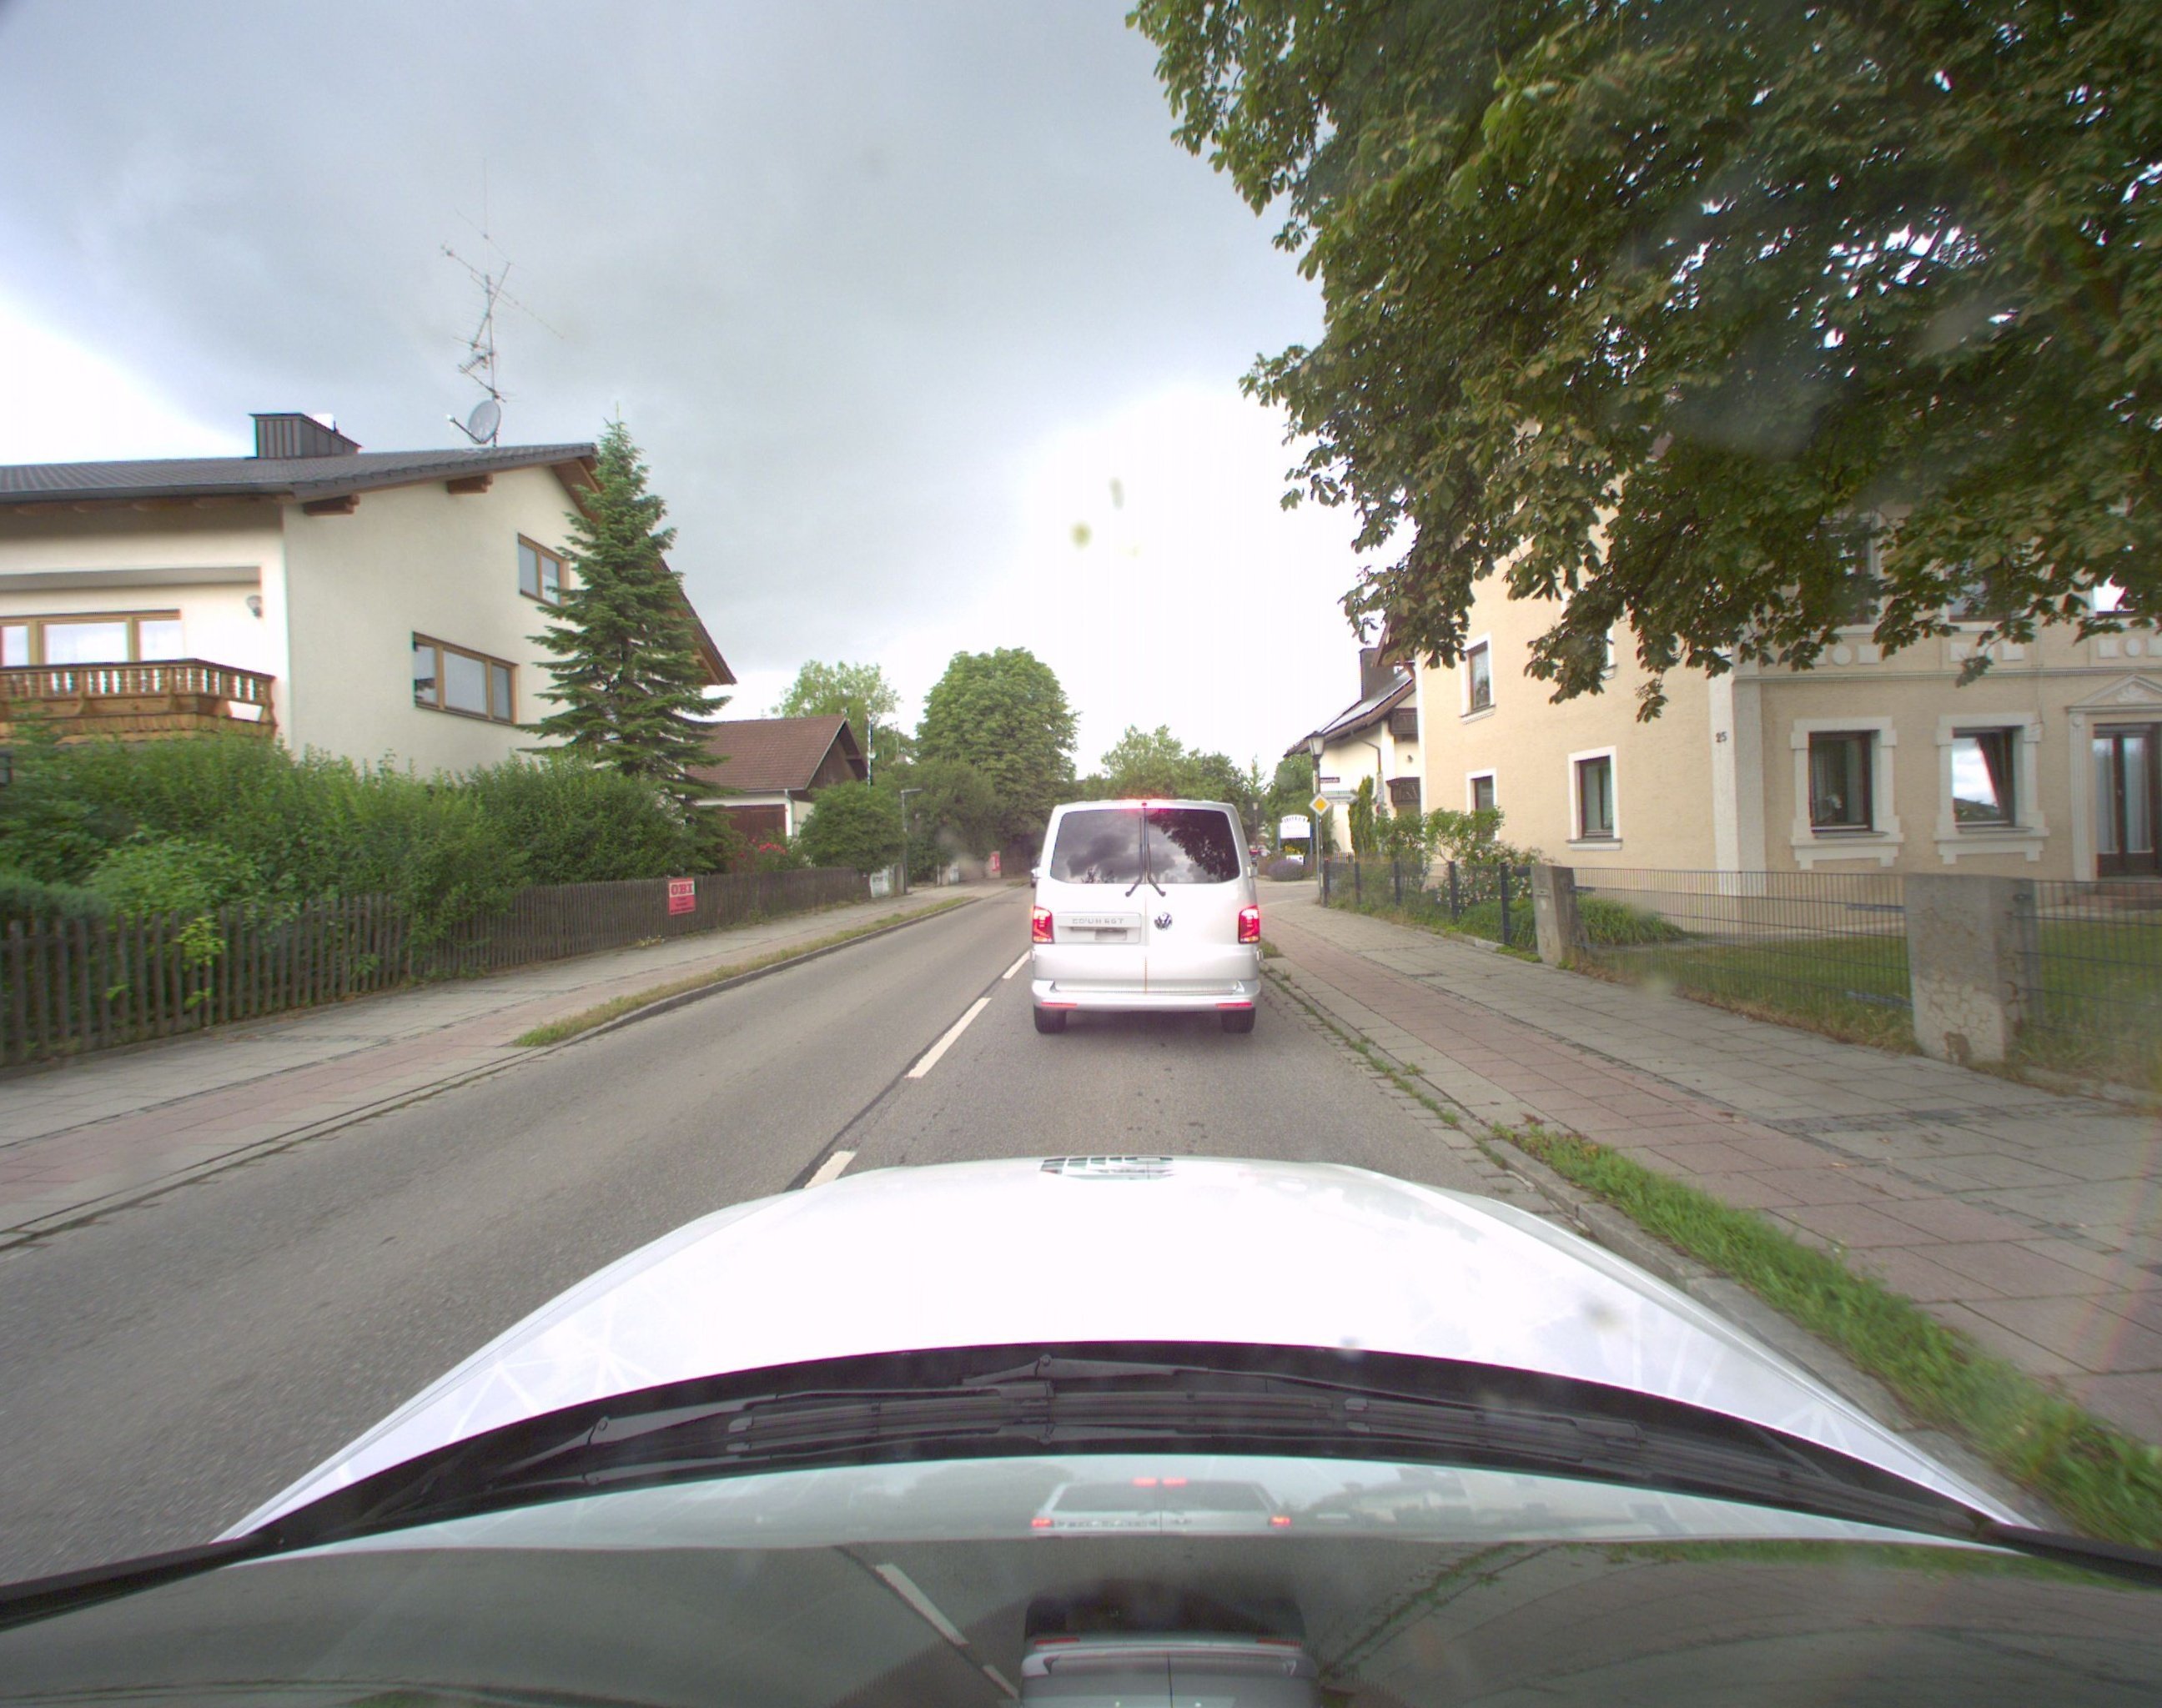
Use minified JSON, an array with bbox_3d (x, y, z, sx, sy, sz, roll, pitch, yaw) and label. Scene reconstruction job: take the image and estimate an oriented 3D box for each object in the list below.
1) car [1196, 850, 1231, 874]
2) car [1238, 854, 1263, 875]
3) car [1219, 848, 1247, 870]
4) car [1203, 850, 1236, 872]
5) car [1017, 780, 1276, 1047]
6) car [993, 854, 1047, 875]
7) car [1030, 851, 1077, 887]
[{"bbox_3d":[8.821,0.510,54.063,1.868,1.535,3.936,-2,0,14],"label":"car"},{"bbox_3d":[15.689,0.910,75.295,1.867,1.825,3.937,-2,0,16],"label":"car"},{"bbox_3d":[12.498,0.403,66.863,1.867,1.748,4.097,-2,0,15],"label":"car"},{"bbox_3d":[10.219,0.502,59.891,1.867,1.535,3.937,-2,0,16],"label":"car"},{"bbox_3d":[0.588,0.444,8.030,1.873,1.940,3.924,-2,0,3],"label":"car"},{"bbox_3d":[-4.660,0.783,62.222,3.982,1.486,1.996,-1,0,-6],"label":"car"},{"bbox_3d":[-1.216,0.656,38.027,1.923,1.575,4.313,0,0,2],"label":"car"}]
